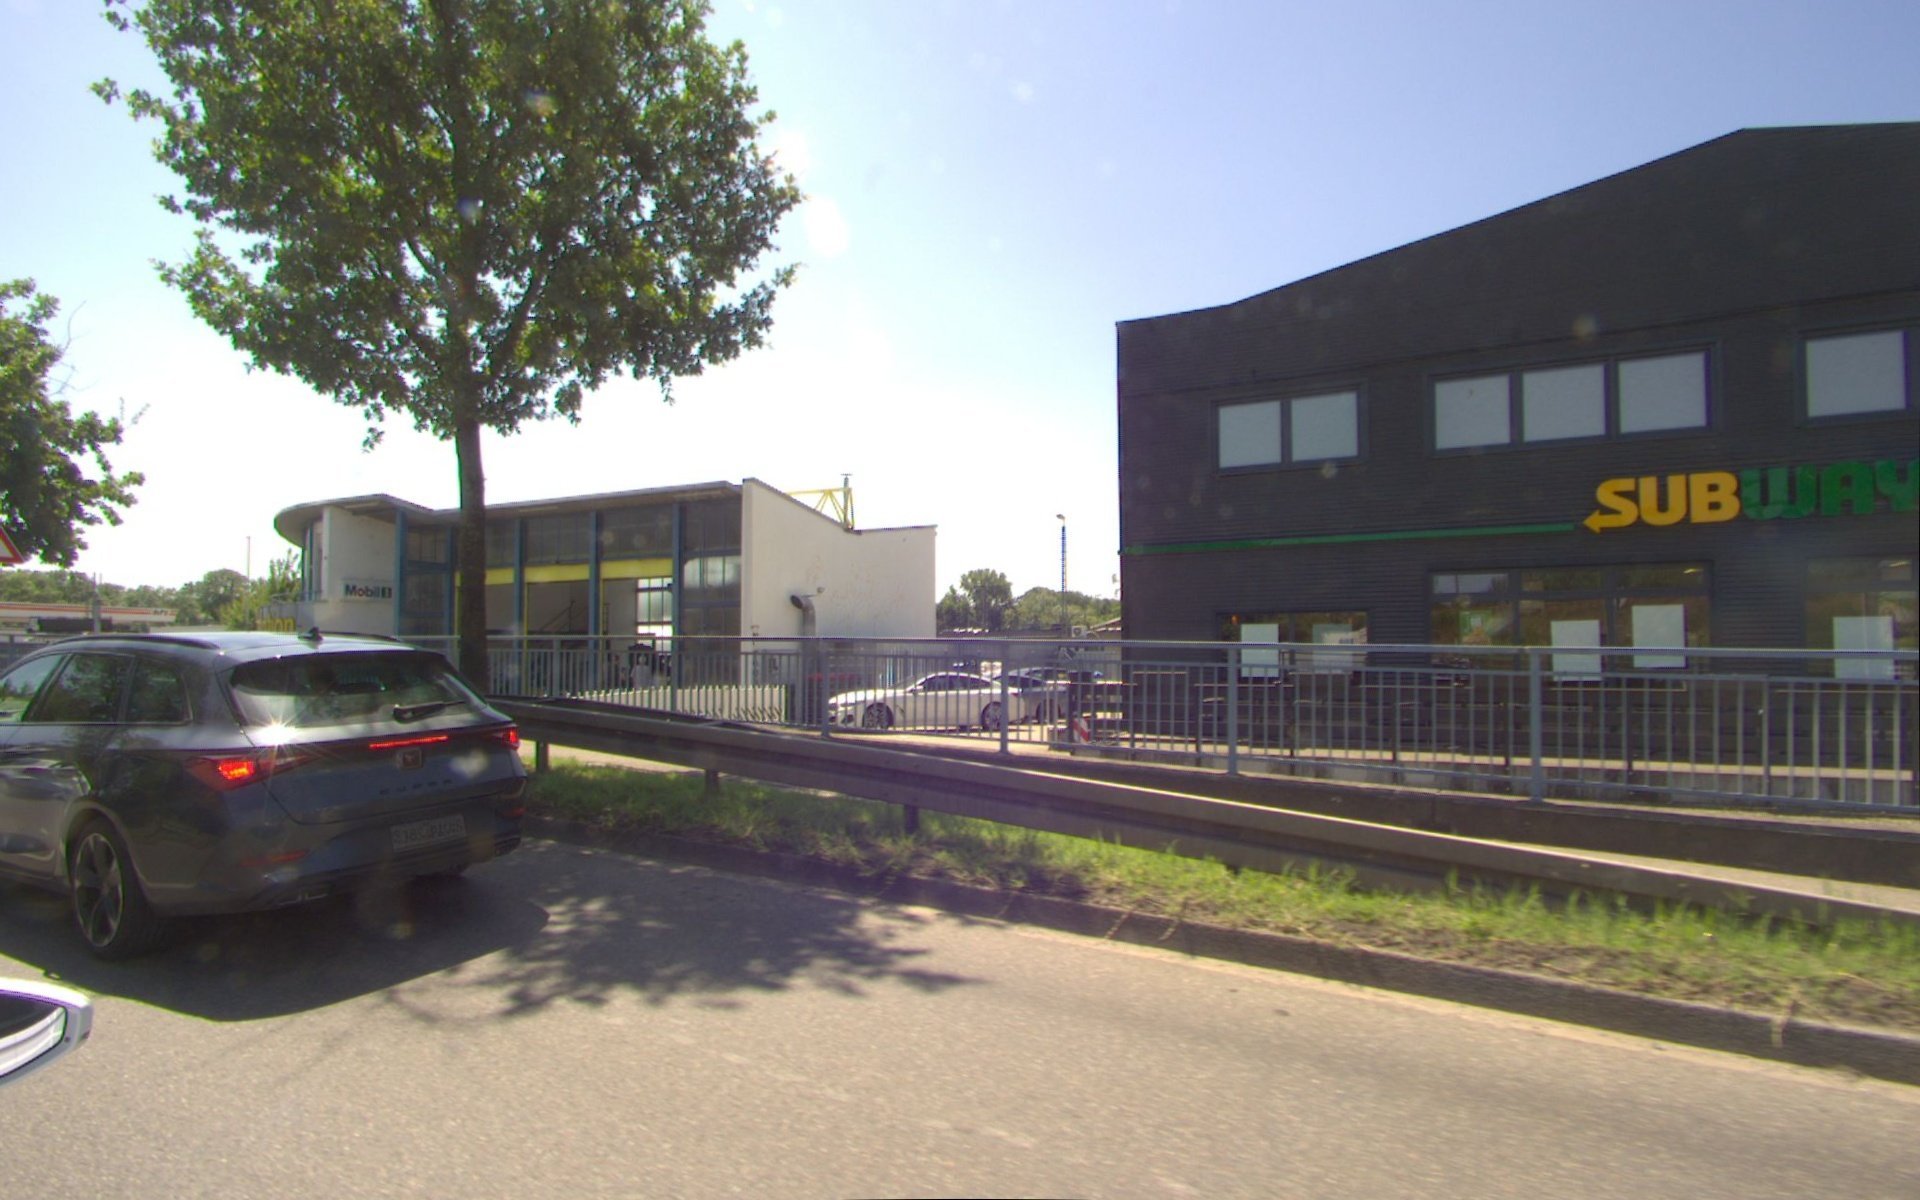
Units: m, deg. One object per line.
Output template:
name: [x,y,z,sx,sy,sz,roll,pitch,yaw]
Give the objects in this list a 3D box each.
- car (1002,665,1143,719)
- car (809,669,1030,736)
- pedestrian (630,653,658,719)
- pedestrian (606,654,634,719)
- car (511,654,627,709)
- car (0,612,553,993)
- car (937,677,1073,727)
car: [3.643,2.929,32.477,4.329,1.578,1.651,1,-2,-24]
car: [-0.975,2.430,24.280,5.002,1.375,1.994,1,-2,-24]
pedestrian: [-8.441,2.296,26.790,0.580,1.724,0.426,-1,-2,27]
pedestrian: [-9.233,2.325,27.167,0.481,1.724,0.521,-1,-2,28]
car: [-13.249,2.729,34.160,1.622,1.705,3.672,-1,-2,22]
car: [-4.360,0.858,5.627,4.171,1.474,1.603,-1,-2,29]
car: [1.254,2.829,28.114,3.549,1.269,1.478,1,-2,-16]
